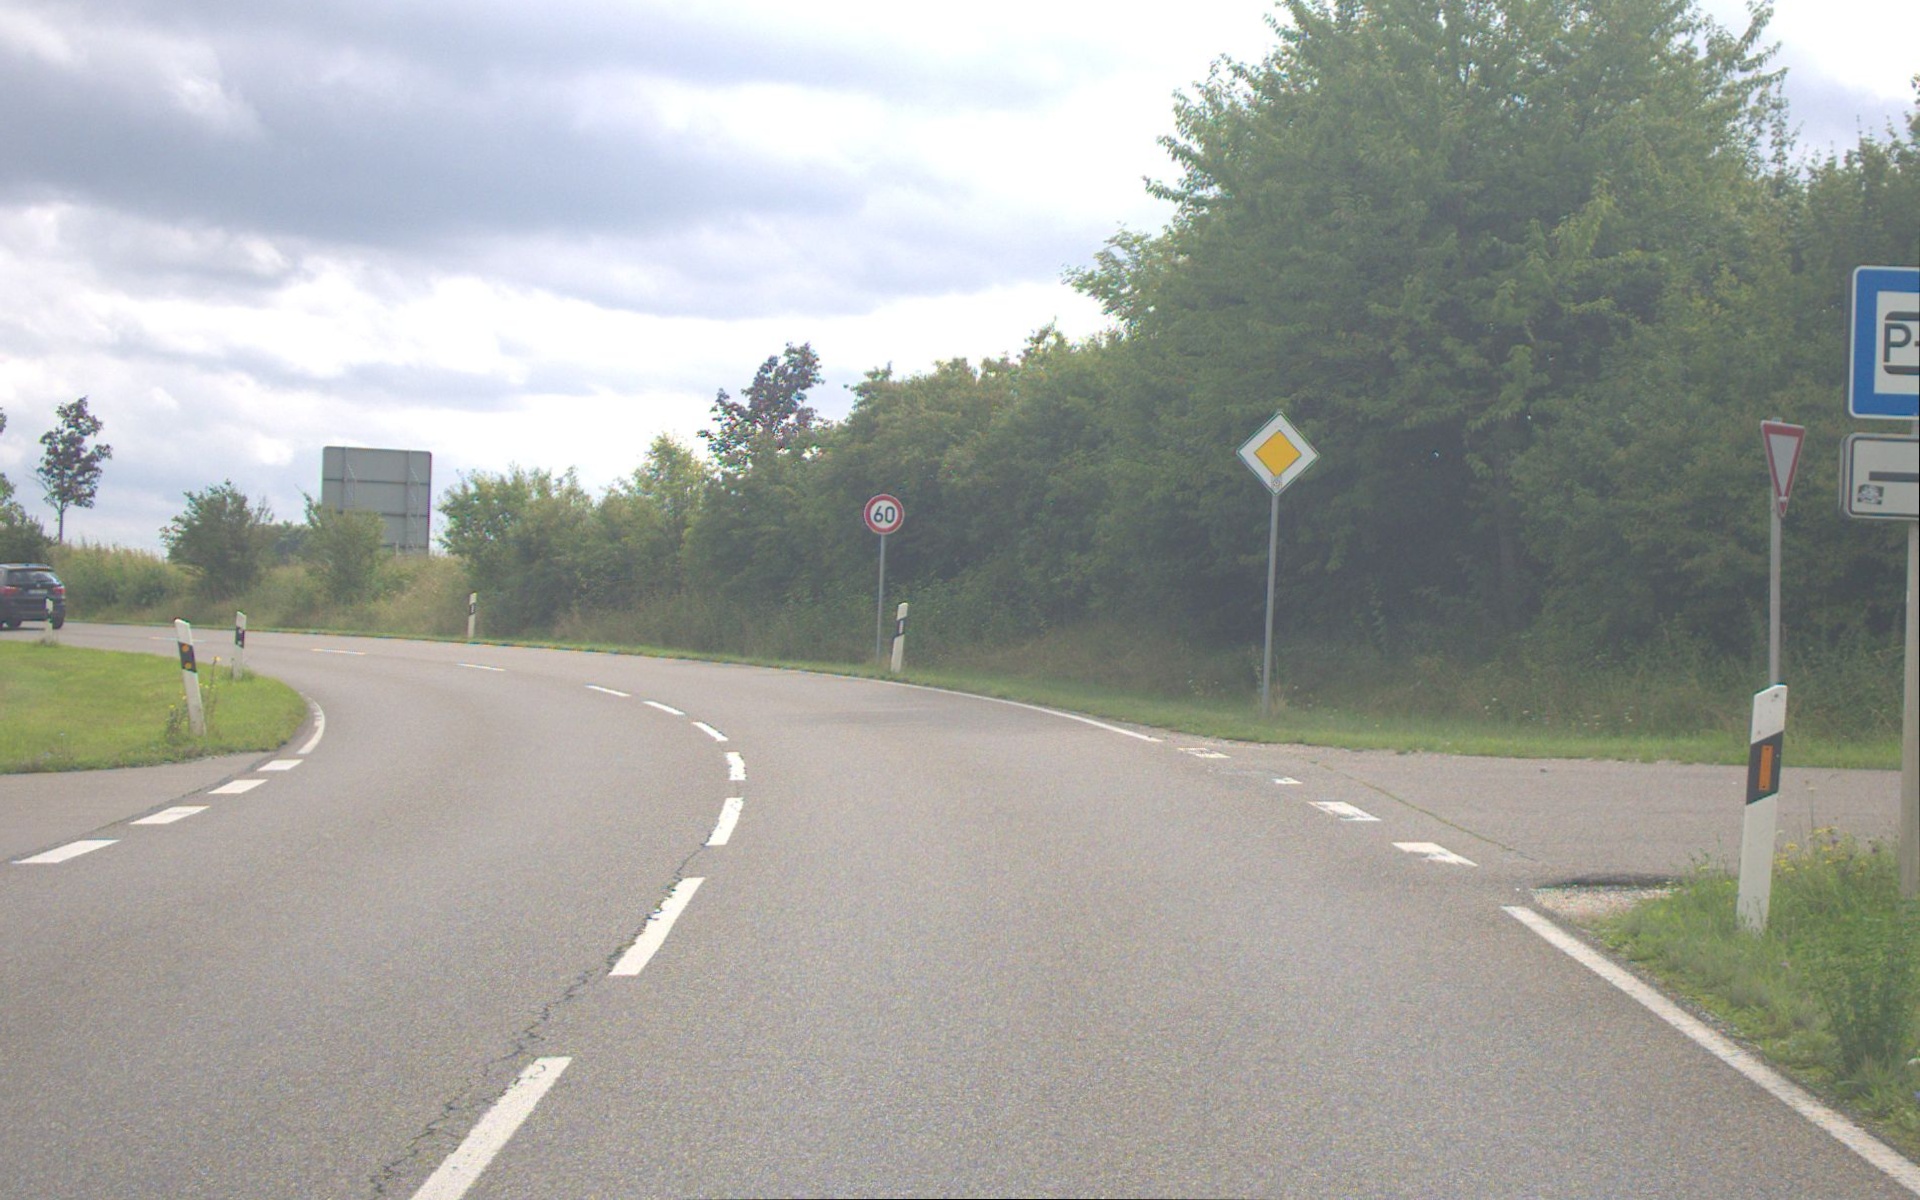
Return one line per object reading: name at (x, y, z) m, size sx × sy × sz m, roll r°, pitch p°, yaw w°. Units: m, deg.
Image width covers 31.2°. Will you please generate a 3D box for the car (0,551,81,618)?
car at (-24.290, -0.426, 88.131) m, size 1.907 × 1.661 × 3.999 m, roll 1°, pitch 1°, yaw -39°
